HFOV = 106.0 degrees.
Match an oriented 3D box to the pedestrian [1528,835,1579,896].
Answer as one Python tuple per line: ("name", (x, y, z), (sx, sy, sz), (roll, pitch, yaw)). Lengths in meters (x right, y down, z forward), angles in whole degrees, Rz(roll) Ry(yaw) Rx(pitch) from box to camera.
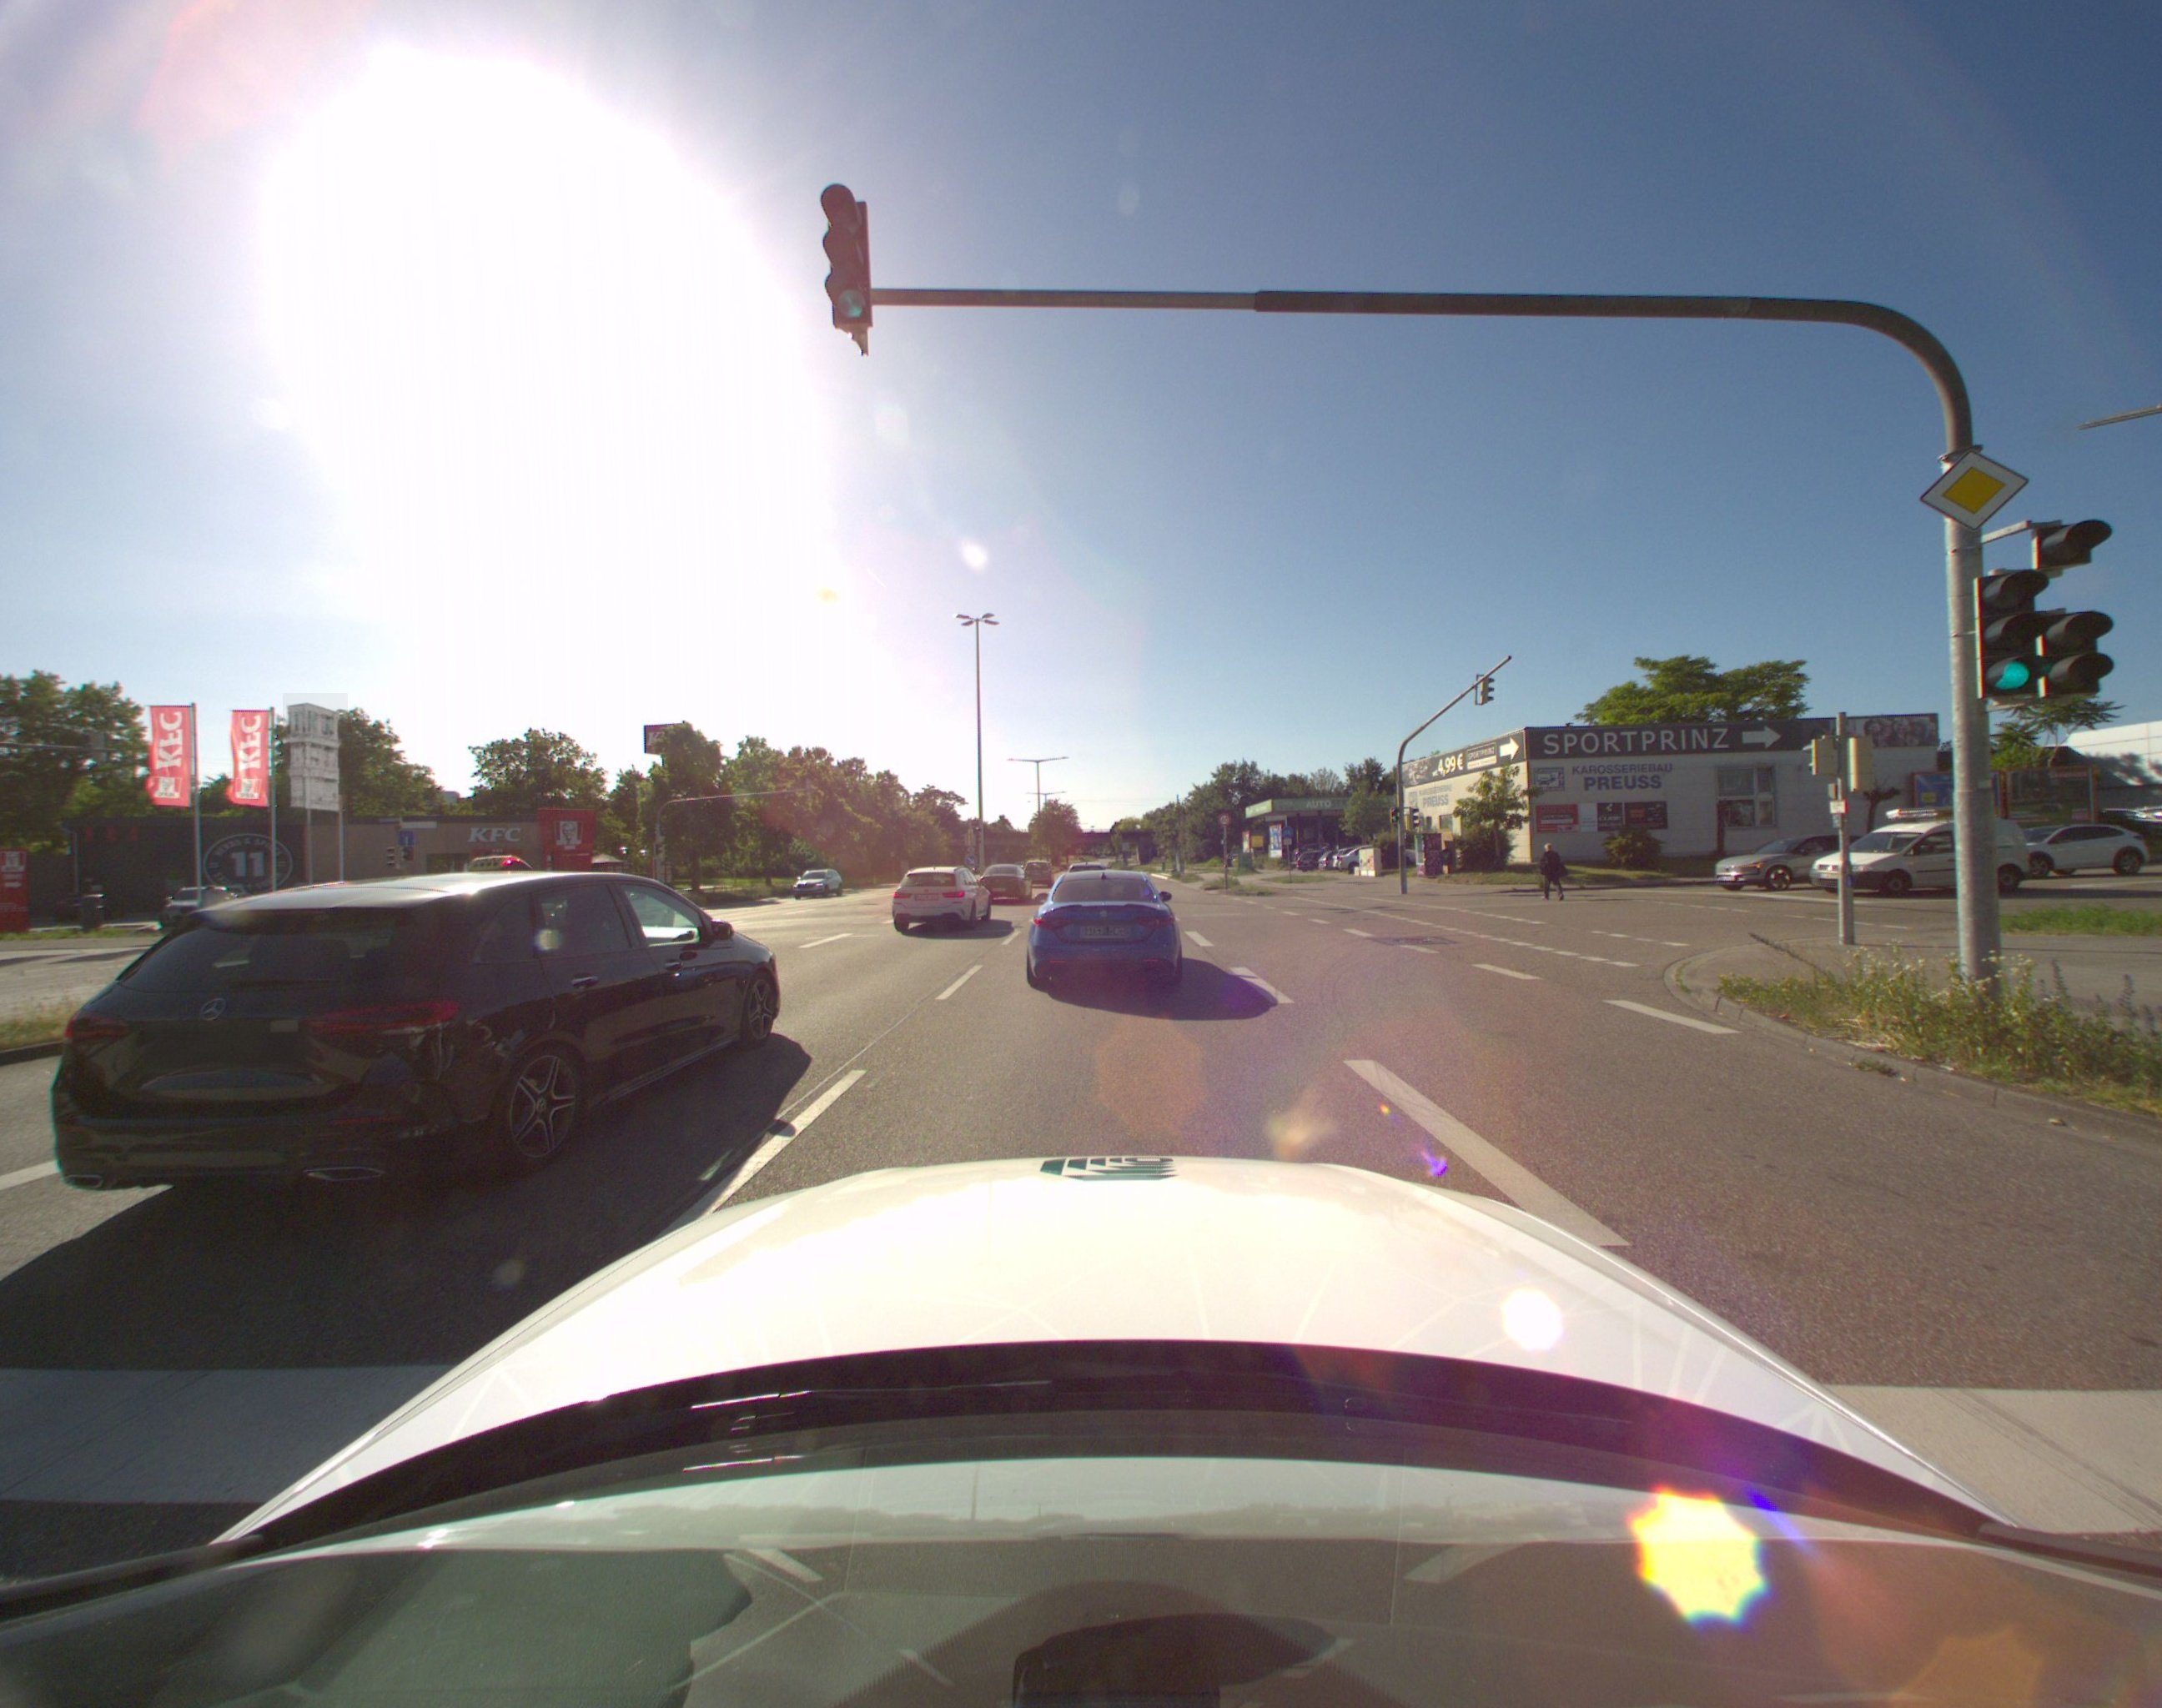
("pedestrian", (13.683, 0.329, 23.632), (0.922, 1.735, 0.939), (0, -1, 1))

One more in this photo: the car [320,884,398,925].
("car", (-34.525, 2.371, 39.074), (1.920, 1.753, 4.314), (0, -1, -29))

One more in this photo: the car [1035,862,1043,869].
("car", (-10.559, 2.872, 204.395), (1.565, 1.618, 4.001), (0, -1, 1))

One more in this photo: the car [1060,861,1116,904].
("car", (0.247, 0.994, 29.284), (1.844, 1.418, 4.402), (0, -1, 0))

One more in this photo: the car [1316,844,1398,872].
("car", (17.248, 0.229, 51.040), (4.470, 1.454, 1.859), (-3, -1, 3))

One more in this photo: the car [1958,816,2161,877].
("car", (28.669, -0.201, 23.852), (4.029, 1.490, 1.782), (-3, -1, -1))

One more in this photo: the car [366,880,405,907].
("car", (-40.843, 2.289, 47.827), (1.670, 1.471, 3.871), (1, -1, -41))

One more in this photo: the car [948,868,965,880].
("car", (-16.688, 2.650, 109.244), (1.603, 1.647, 3.463), (0, -1, 1))

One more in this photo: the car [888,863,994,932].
("car", (-3.285, 0.994, 19.918), (1.779, 1.490, 4.402), (0, -1, 0))

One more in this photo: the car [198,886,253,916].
("car", (-46.384, 2.501, 44.213), (1.670, 1.471, 3.871), (1, -1, -41))

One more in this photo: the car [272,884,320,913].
("car", (-44.042, 2.450, 45.738), (1.670, 1.471, 3.871), (1, -1, -41))

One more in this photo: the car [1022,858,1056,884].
("car", (-2.510, 1.012, 49.249), (1.753, 1.490, 4.402), (0, -1, 0))

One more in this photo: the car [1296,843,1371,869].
("car", (16.991, 0.147, 54.936), (4.470, 1.454, 1.859), (-3, -1, 3))

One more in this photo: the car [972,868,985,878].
("car", (-16.439, 3.037, 130.926), (1.603, 1.647, 3.463), (0, -1, 1))

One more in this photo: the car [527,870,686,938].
("car", (-12.200, 1.225, 21.249), (1.752, 1.490, 3.838), (-3, -1, 2))

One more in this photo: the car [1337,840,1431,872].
("car", (16.820, 0.130, 45.378), (4.470, 1.454, 1.859), (-3, -1, 3))

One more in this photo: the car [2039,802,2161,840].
("car", (46.291, -1.465, 36.403), (1.750, 1.490, 4.573), (-3, -1, 6))

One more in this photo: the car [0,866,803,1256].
("car", (-3.517, 0.854, 5.417), (1.753, 1.490, 4.402), (-1, -1, 0))

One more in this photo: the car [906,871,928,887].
("car", (-17.465, 2.656, 86.995), (1.610, 1.559, 3.358), (0, -1, 1))

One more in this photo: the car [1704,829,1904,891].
("car", (21.003, 0.153, 23.781), (4.273, 1.549, 1.765), (-3, 1, 0))

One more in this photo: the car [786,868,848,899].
("car", (-15.264, 1.682, 47.386), (1.981, 1.629, 4.479), (-3, -1, 2))

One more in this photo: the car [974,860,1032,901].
("car", (-2.988, 1.019, 31.903), (1.791, 1.490, 4.475), (0, -1, 0))

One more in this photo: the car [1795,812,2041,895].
("car", (20.890, -0.026, 20.448), (4.368, 1.801, 1.765), (-3, 1, 0))

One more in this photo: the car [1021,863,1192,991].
("car", (0.305, 0.851, 11.278), (1.889, 1.418, 4.402), (0, -1, 0))

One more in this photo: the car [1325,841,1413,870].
("car", (17.020, 0.110, 48.284), (4.470, 1.454, 1.859), (-3, -1, 3))

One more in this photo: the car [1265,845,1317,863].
("car", (20.122, -0.006, 78.037), (4.532, 1.490, 1.766), (-3, -1, 3))

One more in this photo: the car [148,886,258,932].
("car", (-38.175, 2.338, 35.575), (2.006, 1.765, 4.314), (0, -1, -29))

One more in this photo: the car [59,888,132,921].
("car", (-49.389, 2.488, 40.872), (1.670, 1.471, 3.871), (1, -1, -41))

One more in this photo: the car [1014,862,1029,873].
("car", (-9.326, 2.121, 127.289), (1.752, 1.490, 4.479), (-3, -1, 2))
